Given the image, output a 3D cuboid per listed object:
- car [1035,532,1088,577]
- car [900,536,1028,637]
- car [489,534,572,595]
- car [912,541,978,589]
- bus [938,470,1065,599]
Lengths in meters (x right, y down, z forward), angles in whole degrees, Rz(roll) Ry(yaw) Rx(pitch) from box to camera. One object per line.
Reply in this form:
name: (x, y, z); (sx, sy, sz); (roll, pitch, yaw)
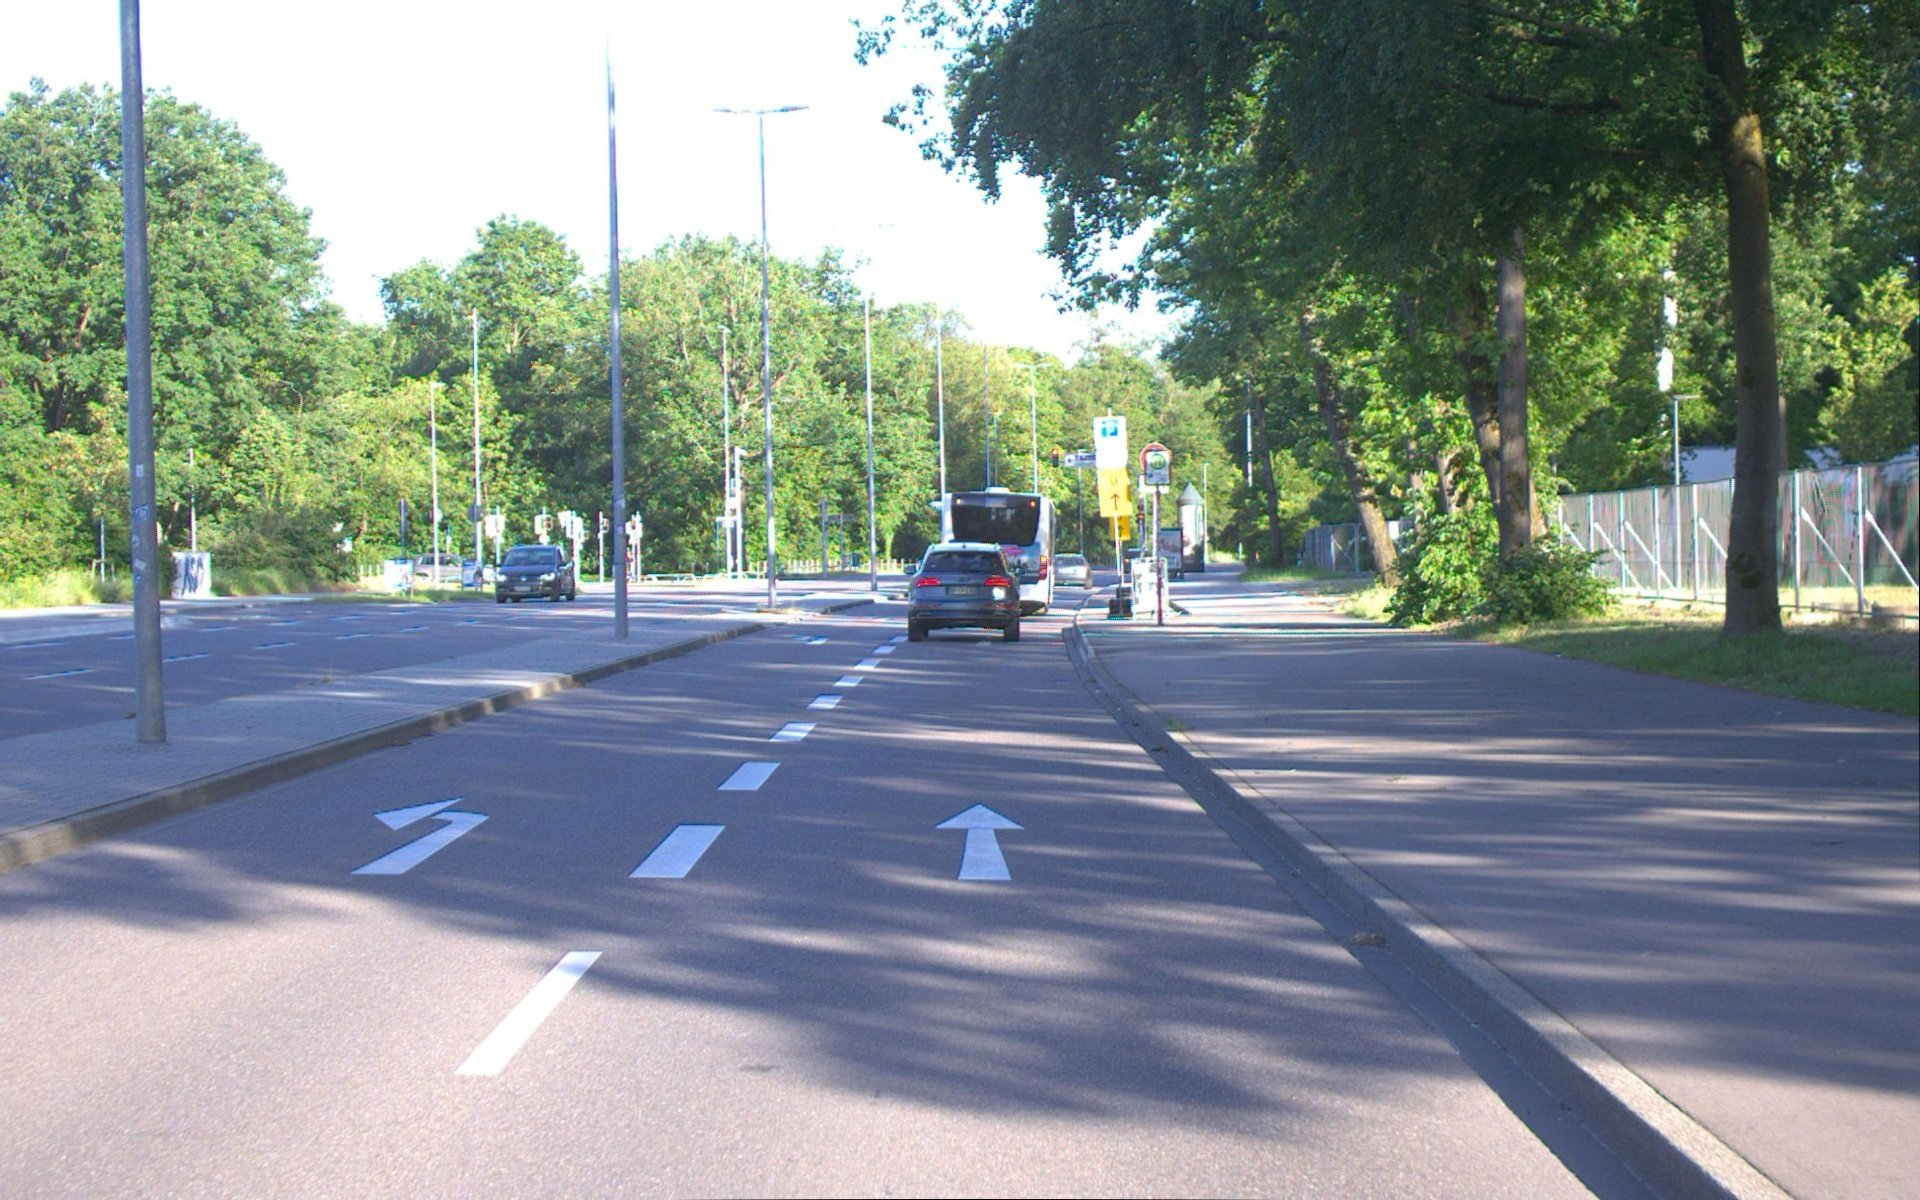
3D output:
car: (4.016, -1.786, 135.483); (1.910, 1.722, 4.578); (1, 0, 4)
car: (0.103, -0.254, 58.586); (1.899, 1.626, 4.000); (1, 1, 4)
car: (-12.604, -1.061, 101.078); (1.783, 1.686, 4.702); (1, 1, 0)
car: (-0.473, -1.162, 111.807); (1.836, 1.513, 4.000); (0, 1, 4)
bus: (1.109, -1.563, 84.749); (2.595, 2.978, 9.325); (1, 0, 4)
